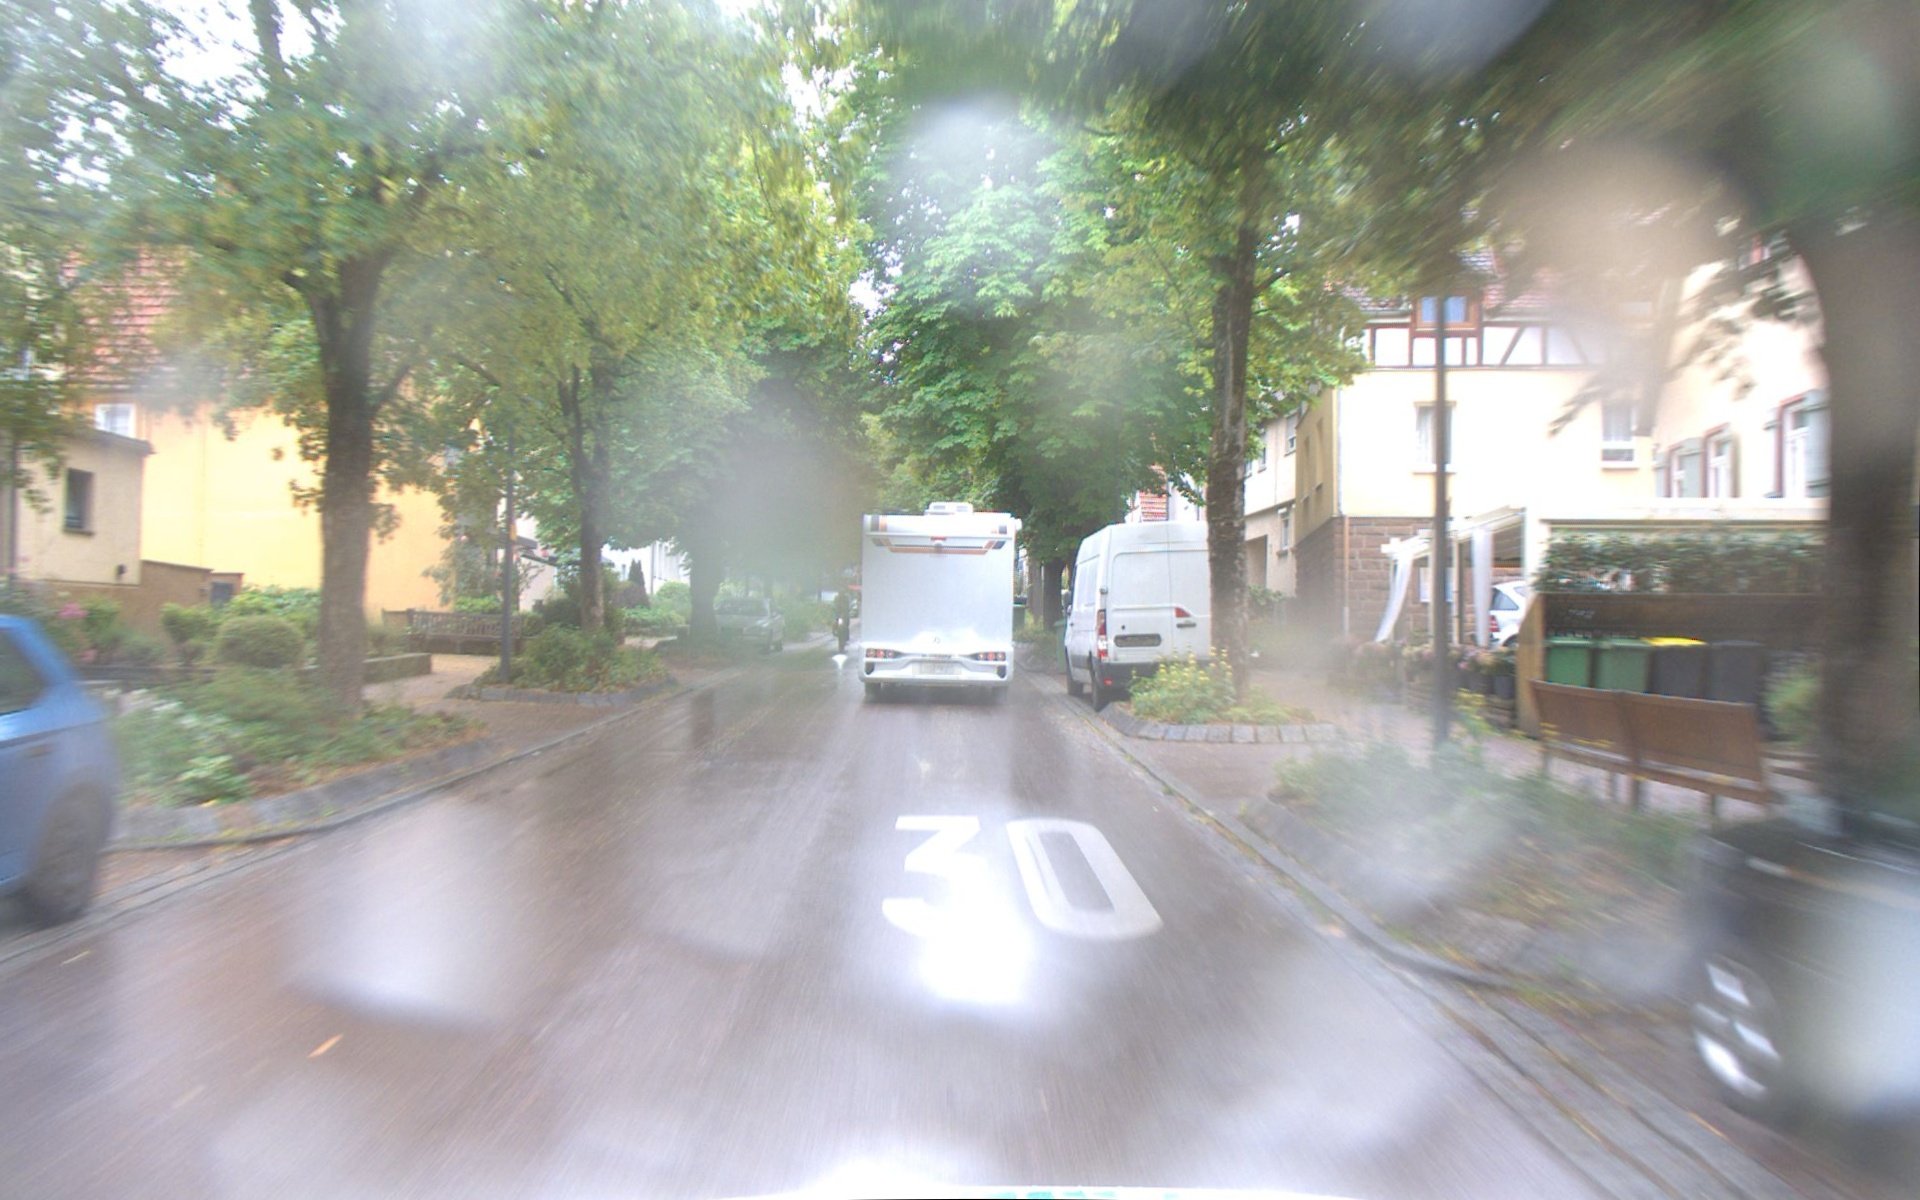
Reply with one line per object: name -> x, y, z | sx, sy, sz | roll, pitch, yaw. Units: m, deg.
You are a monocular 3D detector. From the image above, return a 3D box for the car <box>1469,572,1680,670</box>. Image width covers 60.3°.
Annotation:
car -> 11.027, 0.386, 29.841 | 3.215, 1.623, 1.662 | -2, -1, 6

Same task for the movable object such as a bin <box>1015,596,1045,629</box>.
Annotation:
movable object such as a bin -> 2.854, 0.521, 67.691 | 1.199, 1.338, 1.134 | 0, 0, 1

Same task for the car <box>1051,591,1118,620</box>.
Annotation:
car -> 6.542, 0.268, 87.067 | 3.298, 1.455, 1.629 | -1, 0, -4

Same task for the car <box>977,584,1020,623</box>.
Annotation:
car -> 1.867, 0.147, 81.056 | 1.875, 1.823, 4.487 | 1, 0, -1

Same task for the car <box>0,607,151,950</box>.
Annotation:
car -> -4.869, 0.745, 6.275 | 1.714, 1.420, 3.795 | 1, 0, 0

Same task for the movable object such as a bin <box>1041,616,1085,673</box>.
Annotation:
movable object such as a bin -> 2.022, 0.871, 32.610 | 0.781, 1.094, 0.878 | 1, 0, -1

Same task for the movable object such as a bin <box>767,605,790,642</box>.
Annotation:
movable object such as a bin -> -5.567, 0.715, 50.693 | 0.582, 1.081, 0.545 | 3, 0, 3

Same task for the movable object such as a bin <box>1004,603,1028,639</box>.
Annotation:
movable object such as a bin -> 1.727, 0.653, 51.028 | 0.674, 1.101, 0.540 | 1, 0, -5

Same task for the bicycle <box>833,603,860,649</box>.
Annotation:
bicycle -> -3.082, 0.692, 44.886 | 0.614, 1.230, 1.980 | 1, 0, -1

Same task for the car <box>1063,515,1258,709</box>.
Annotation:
car -> 2.783, 0.158, 24.293 | 2.097, 2.503, 5.434 | 1, 0, -1

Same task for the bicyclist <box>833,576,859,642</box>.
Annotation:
bicyclist -> -3.079, 0.241, 44.739 | 0.614, 1.761, 0.880 | 1, 0, -1

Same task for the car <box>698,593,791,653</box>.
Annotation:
car -> -5.563, 0.554, 43.158 | 1.736, 1.413, 4.545 | 2, 0, 0

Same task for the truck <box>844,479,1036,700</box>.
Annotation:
truck -> -0.314, -0.145, 26.193 | 2.640, 3.038, 6.235 | 1, 0, -1

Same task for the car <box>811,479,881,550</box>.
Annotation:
car -> -3.591, -2.690, 52.818 | 1.953, 2.049, 3.999 | 1, 0, -1

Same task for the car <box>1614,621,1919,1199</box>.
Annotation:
car -> 3.197, 0.815, 3.864 | 1.772, 1.435, 3.782 | 1, 0, -1
